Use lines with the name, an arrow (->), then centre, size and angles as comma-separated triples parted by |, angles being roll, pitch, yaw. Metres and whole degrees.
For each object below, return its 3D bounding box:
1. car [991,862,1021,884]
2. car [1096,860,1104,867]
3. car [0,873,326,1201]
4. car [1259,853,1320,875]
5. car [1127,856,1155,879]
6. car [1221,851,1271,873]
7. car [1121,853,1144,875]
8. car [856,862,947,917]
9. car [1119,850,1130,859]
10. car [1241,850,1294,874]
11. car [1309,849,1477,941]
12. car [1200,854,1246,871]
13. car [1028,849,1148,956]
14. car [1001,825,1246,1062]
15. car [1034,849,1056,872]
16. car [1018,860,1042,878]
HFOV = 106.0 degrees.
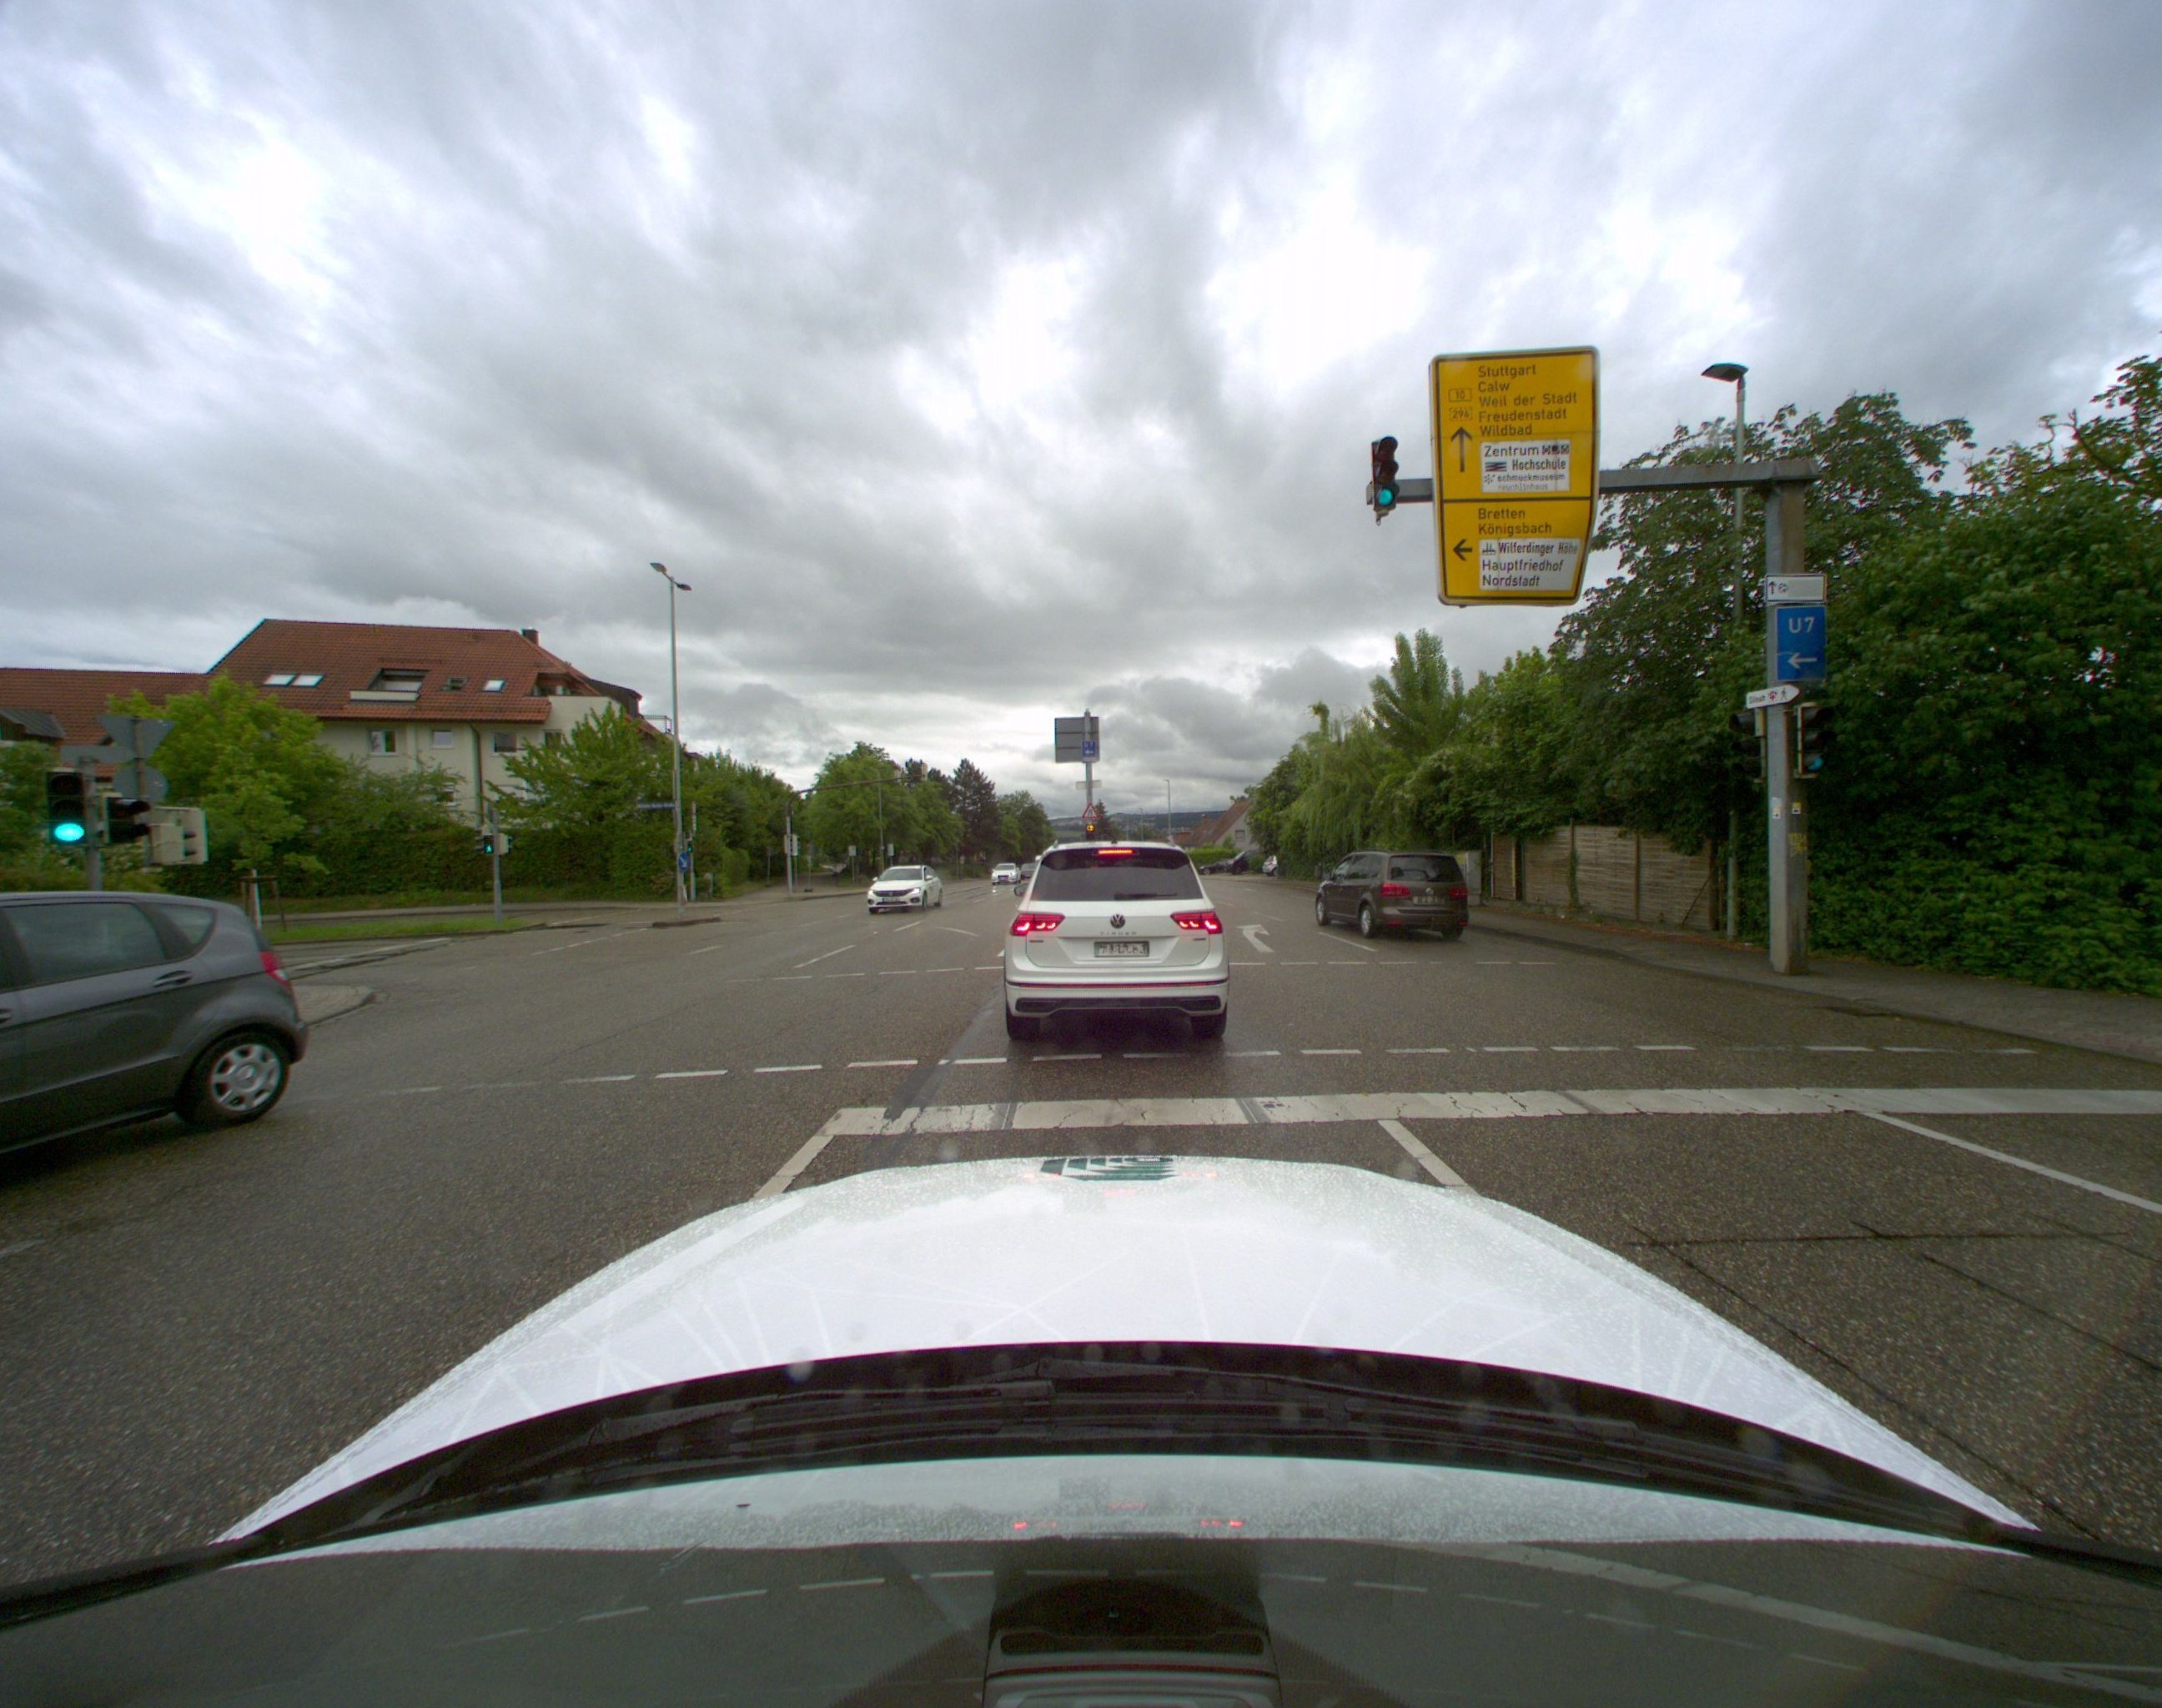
car -> -5.225, 1.293, 57.179 | 1.740, 1.397, 3.801 | -1, 0, 0
car -> 4.783, 2.362, 200.764 | 1.843, 1.574, 4.002 | -2, 0, 2
car -> -6.278, 0.985, 4.017 | 1.694, 1.599, 3.549 | -4, 0, 0
car -> 14.541, 0.721, 56.853 | 3.708, 1.395, 1.725 | -2, -2, -6
car -> 3.978, 0.891, 54.536 | 1.675, 1.460, 3.802 | 0, 0, 1
car -> 13.061, 0.645, 64.620 | 3.618, 1.626, 1.789 | 0, -2, -3
car -> 4.325, 0.799, 69.048 | 1.706, 1.758, 3.802 | -1, 0, 1
car -> -5.871, 1.110, 27.192 | 1.961, 1.454, 4.309 | -2, 1, 1
car -> 7.786, 0.056, 146.596 | 1.843, 1.574, 4.002 | -2, 0, 2
car -> 14.204, 0.635, 62.161 | 3.618, 1.747, 1.706 | -1, -1, -2
car -> 5.904, 0.702, 15.953 | 1.730, 1.575, 4.067 | 0, 0, 0
car -> 12.099, 0.764, 69.596 | 3.675, 1.370, 1.518 | -1, -2, 0
car -> 0.181, 0.730, 14.166 | 1.791, 1.589, 3.928 | -1, 0, 2
car -> 0.353, 0.653, 8.050 | 1.756, 1.696, 4.273 | 1, 0, 1
car -> -4.105, 0.688, 93.959 | 2.290, 2.528, 5.771 | -1, 0, -1
car -> -4.538, 1.348, 72.720 | 1.769, 1.502, 4.472 | -1, 0, 1
